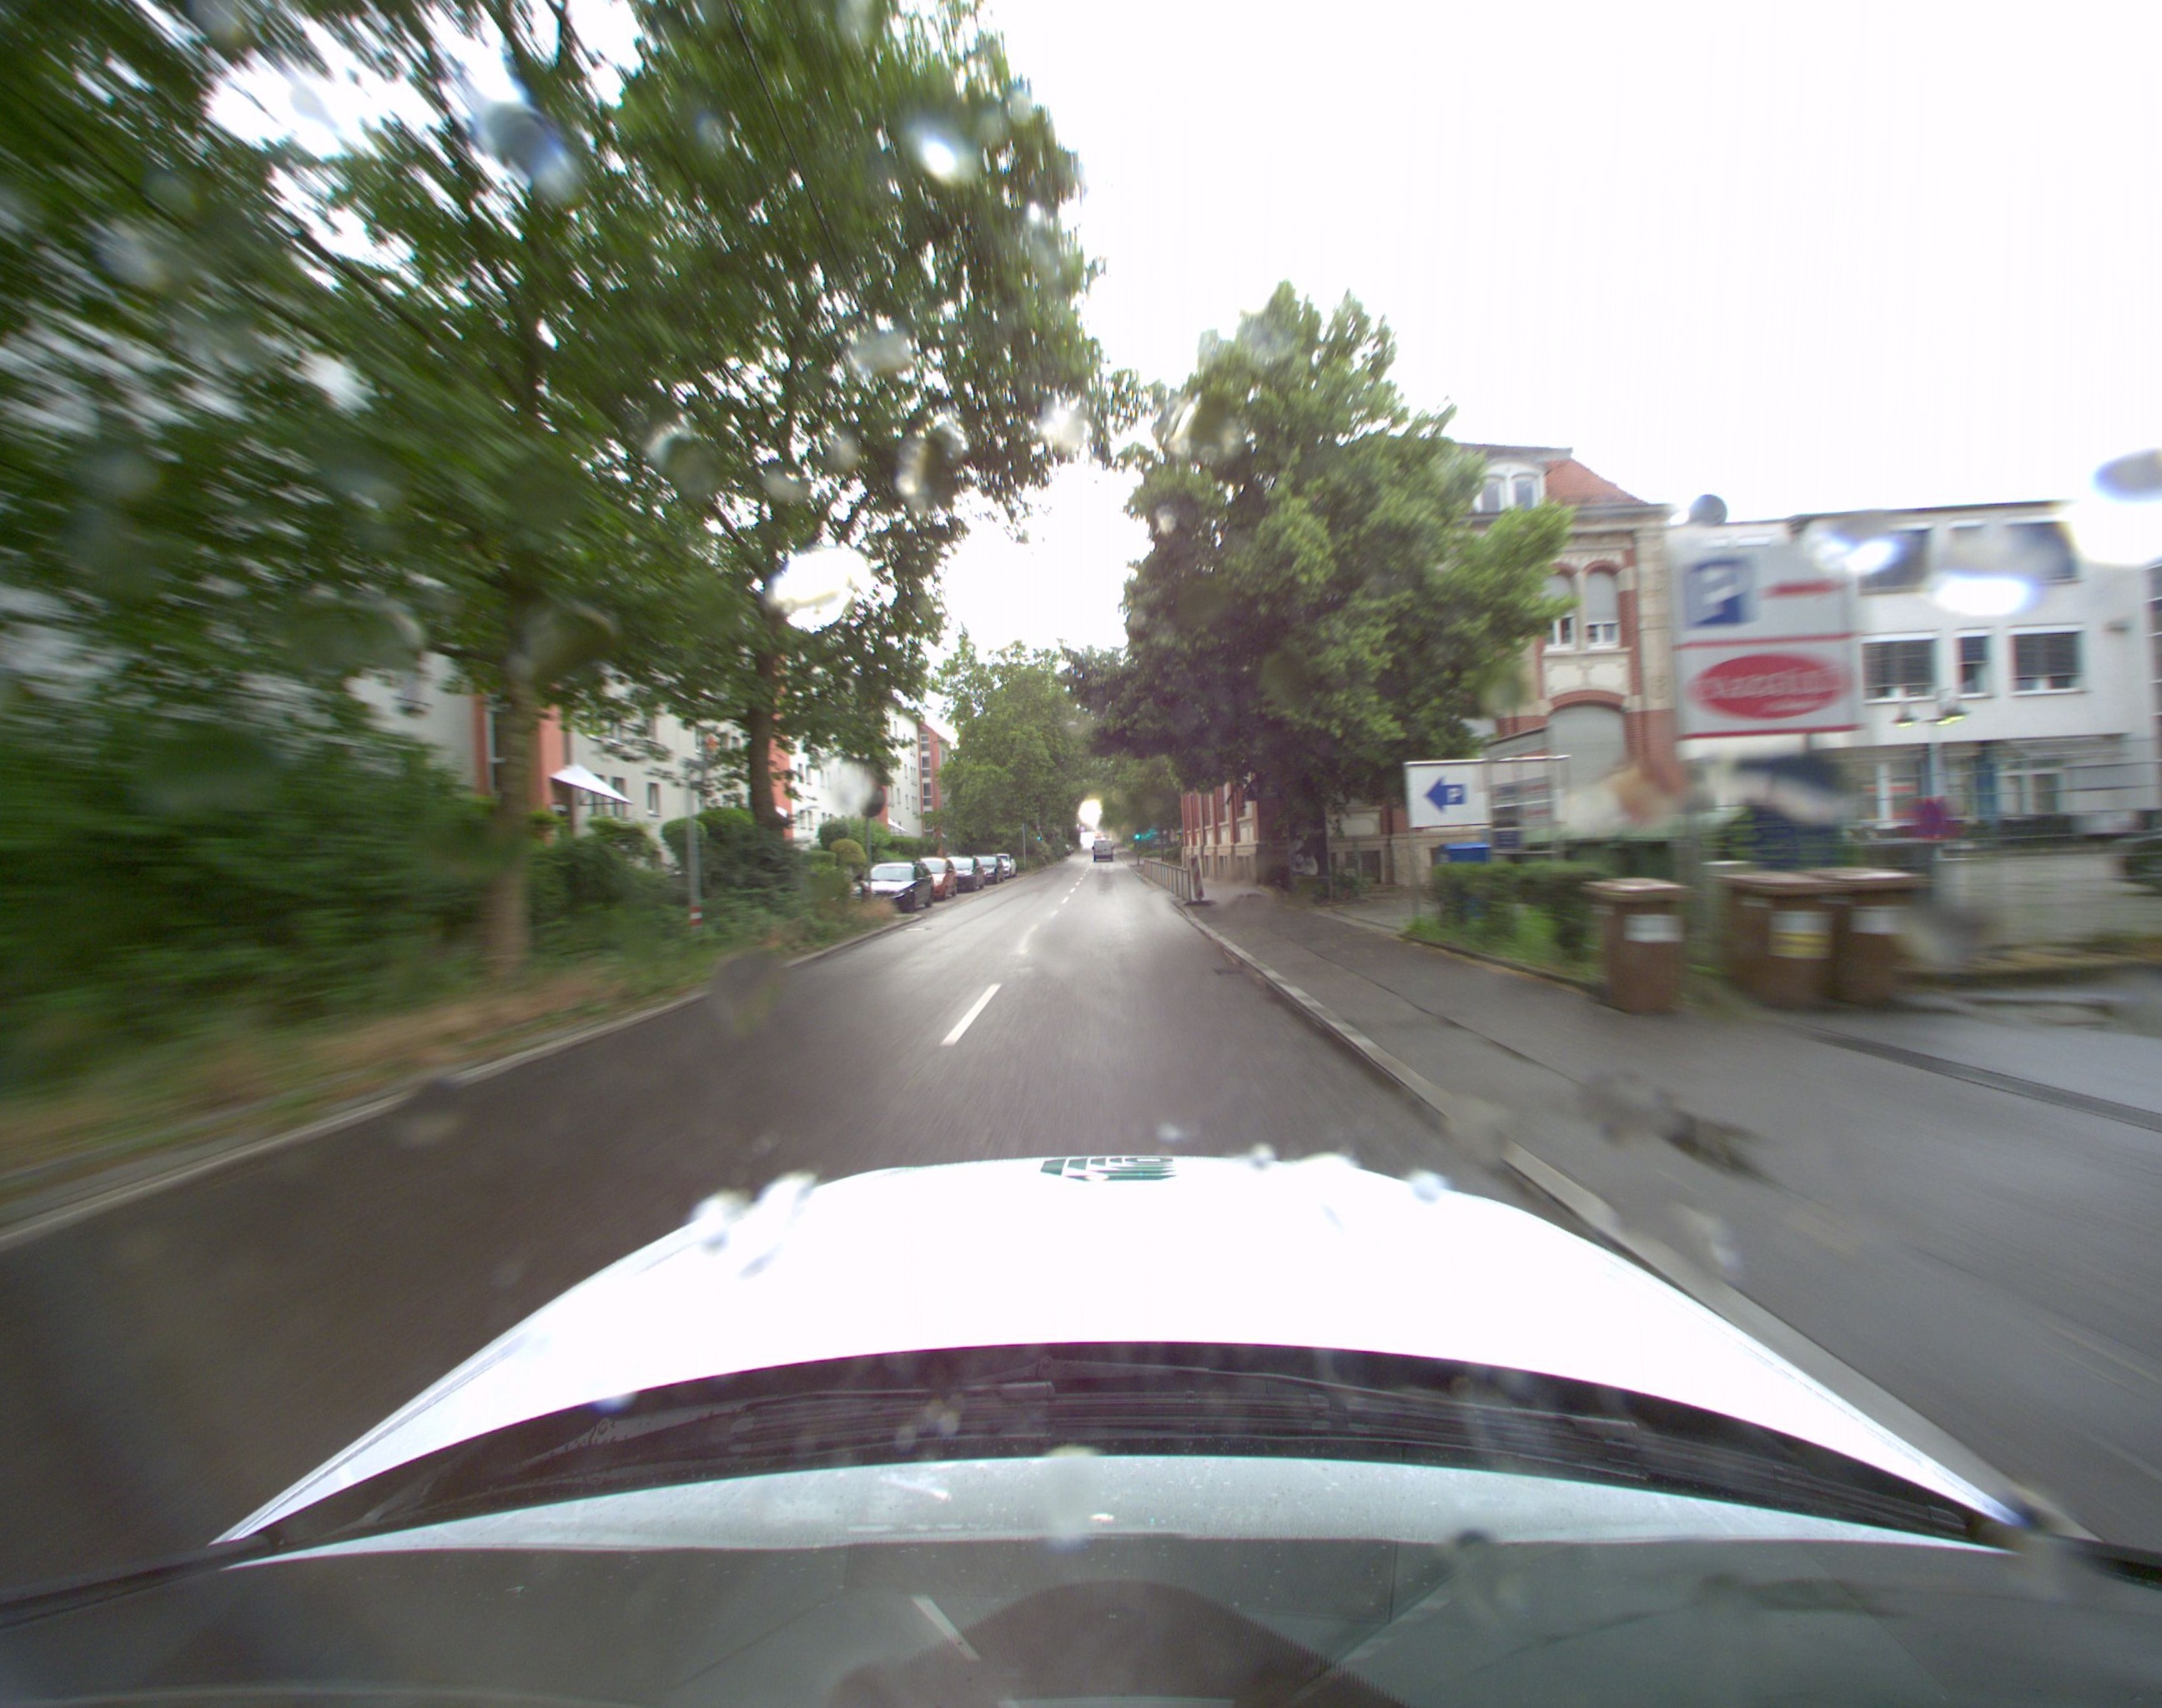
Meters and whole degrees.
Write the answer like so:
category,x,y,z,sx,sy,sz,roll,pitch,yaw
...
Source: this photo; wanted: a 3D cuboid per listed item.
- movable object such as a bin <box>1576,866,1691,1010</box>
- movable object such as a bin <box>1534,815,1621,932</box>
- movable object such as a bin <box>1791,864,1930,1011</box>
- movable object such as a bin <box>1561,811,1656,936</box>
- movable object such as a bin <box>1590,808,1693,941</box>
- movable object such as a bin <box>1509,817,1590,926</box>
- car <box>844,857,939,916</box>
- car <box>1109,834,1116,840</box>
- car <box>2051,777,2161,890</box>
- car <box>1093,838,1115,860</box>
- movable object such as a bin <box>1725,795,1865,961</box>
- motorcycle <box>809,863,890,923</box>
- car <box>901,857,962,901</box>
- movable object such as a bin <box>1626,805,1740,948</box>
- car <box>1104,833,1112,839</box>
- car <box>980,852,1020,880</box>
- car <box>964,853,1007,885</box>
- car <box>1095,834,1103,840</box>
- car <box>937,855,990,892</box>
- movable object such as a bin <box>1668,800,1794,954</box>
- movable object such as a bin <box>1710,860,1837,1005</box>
category,x,y,z,sx,sy,sz,roll,pitch,yaw
movable object such as a bin,4.594,0.671,6.802,0.503,1.115,0.618,-3,0,2
movable object such as a bin,6.751,0.250,11.097,0.735,1.508,0.625,-3,0,-2
movable object such as a bin,6.329,0.652,6.639,0.503,1.115,0.618,-3,0,2
movable object such as a bin,6.753,0.240,10.448,0.735,1.508,0.625,-3,0,-2
movable object such as a bin,6.737,0.239,9.815,0.735,1.508,0.625,-3,0,-2
movable object such as a bin,6.749,0.243,11.756,0.735,1.501,0.625,-3,0,-2
car,-5.553,0.896,24.494,1.711,1.509,4.803,-2,0,0
car,10.041,-5.444,257.790,1.921,1.709,3.879,-1,-1,6
car,15.074,-0.340,9.889,1.657,1.486,4.135,-3,-1,2
car,2.446,-0.501,86.149,2.327,2.231,4.002,-1,-1,2
movable object such as a bin,6.895,0.219,7.892,0.735,1.508,0.625,-3,0,-2
motorcycle,-5.659,0.936,19.981,1.706,1.340,0.722,-3,0,1
car,-5.480,0.877,30.213,1.550,1.467,3.397,-2,0,0
movable object such as a bin,6.750,0.242,9.161,0.735,1.508,0.625,-4,0,-2
car,8.245,-5.489,249.743,2.138,1.709,3.879,-1,-1,5
car,-4.771,0.682,48.560,1.710,1.467,4.312,-2,0,2
car,-4.847,0.729,41.890,1.711,1.467,4.232,-2,0,-1
car,5.722,-5.398,258.026,2.149,1.709,3.879,-1,-1,5
car,-5.074,0.812,35.583,1.711,1.467,3.756,-2,0,0
movable object such as a bin,6.766,0.234,8.504,0.735,1.508,0.625,-3,0,-2
movable object such as a bin,5.677,0.619,6.699,0.528,1.115,0.561,-3,0,4
